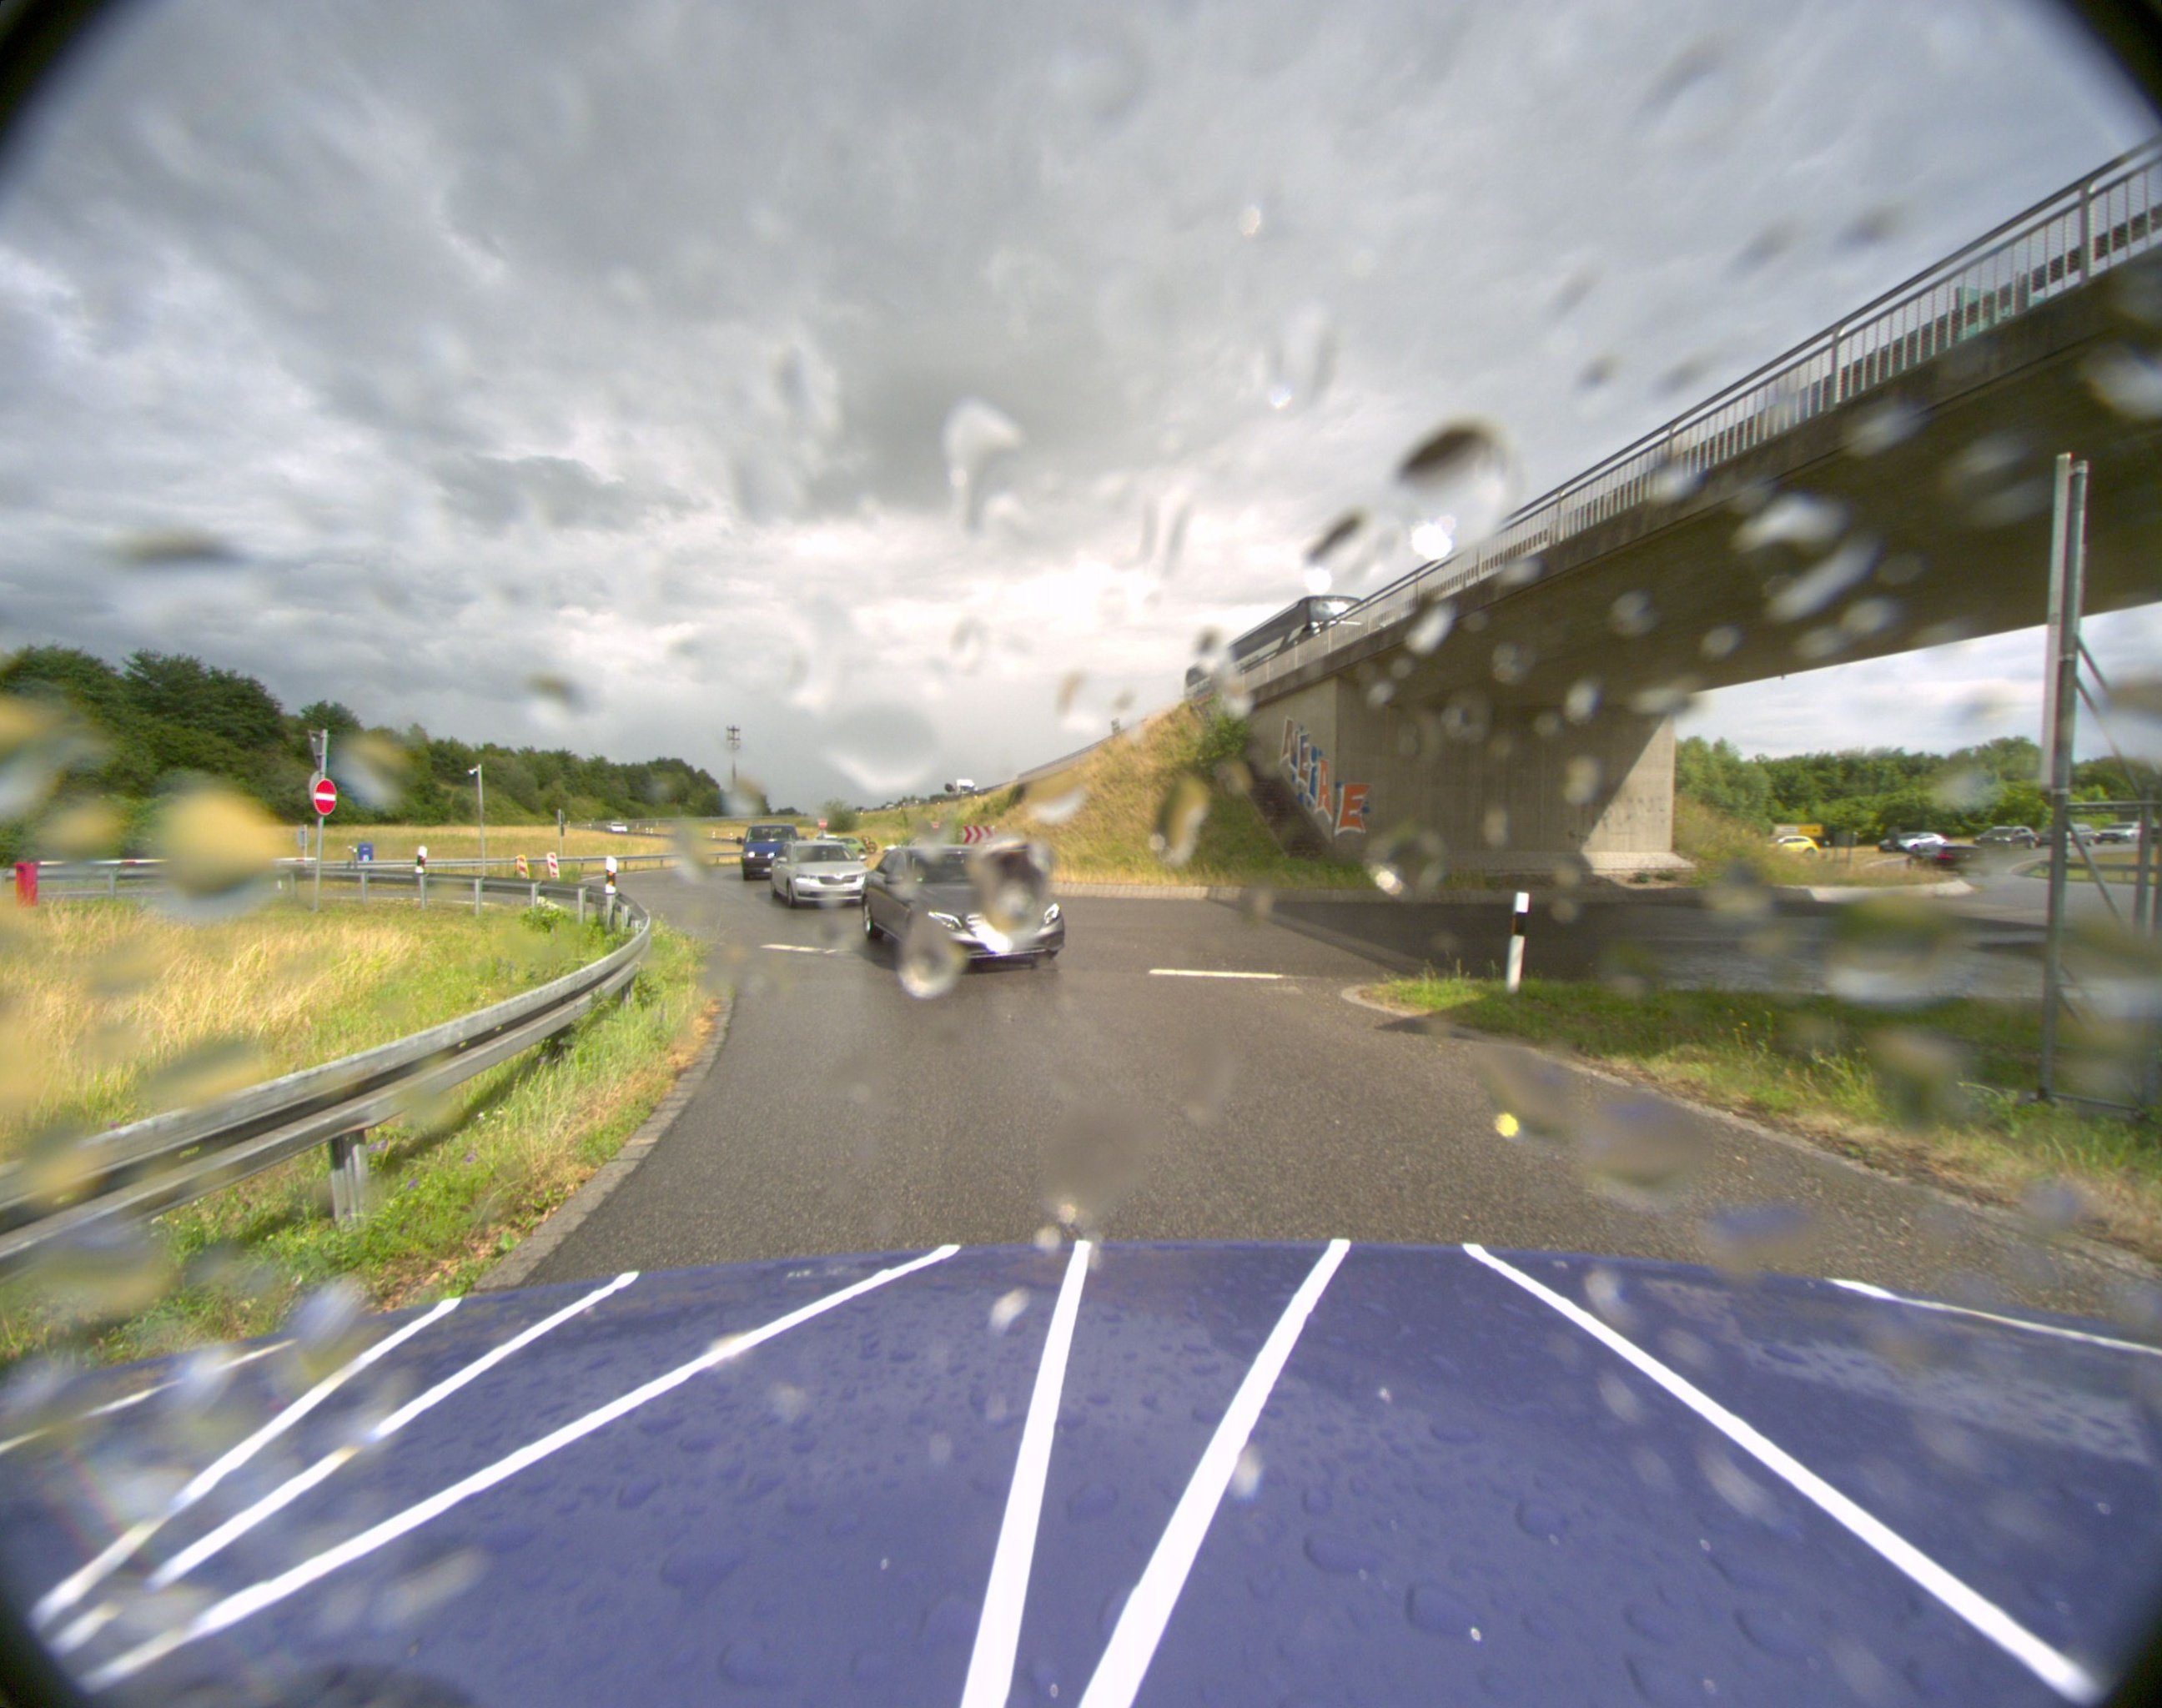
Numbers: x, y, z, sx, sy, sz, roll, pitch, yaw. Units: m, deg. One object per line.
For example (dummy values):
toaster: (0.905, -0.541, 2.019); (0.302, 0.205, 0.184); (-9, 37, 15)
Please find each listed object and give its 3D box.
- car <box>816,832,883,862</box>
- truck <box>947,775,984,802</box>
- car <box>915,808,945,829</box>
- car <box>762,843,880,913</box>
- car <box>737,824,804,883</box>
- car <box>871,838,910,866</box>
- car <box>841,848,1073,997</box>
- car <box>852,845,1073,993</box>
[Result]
car: (-13.770, -0.443, 45.424); (1.723, 1.478, 4.003); (3, 5, 21)
truck: (-19.132, -10.819, 125.092); (3.291, 4.187, 10.799); (-1, 5, -24)
car: (-12.182, -2.886, 61.472); (1.727, 1.478, 3.996); (1, 5, -2)
car: (-6.126, 0.447, 17.576); (1.783, 1.282, 4.269); (-2, 3, -30)
car: (-10.968, -0.100, 27.101); (1.781, 1.867, 4.580); (-1, 3, -17)
car: (-12.616, -0.162, 50.508); (1.727, 1.478, 3.996); (1, 5, -2)
car: (-1.925, 0.730, 10.545); (1.783, 1.431, 4.269); (-2, 3, -30)
car: (-1.908, 0.680, 10.670); (1.774, 1.384, 4.578); (-1, 4, -26)
